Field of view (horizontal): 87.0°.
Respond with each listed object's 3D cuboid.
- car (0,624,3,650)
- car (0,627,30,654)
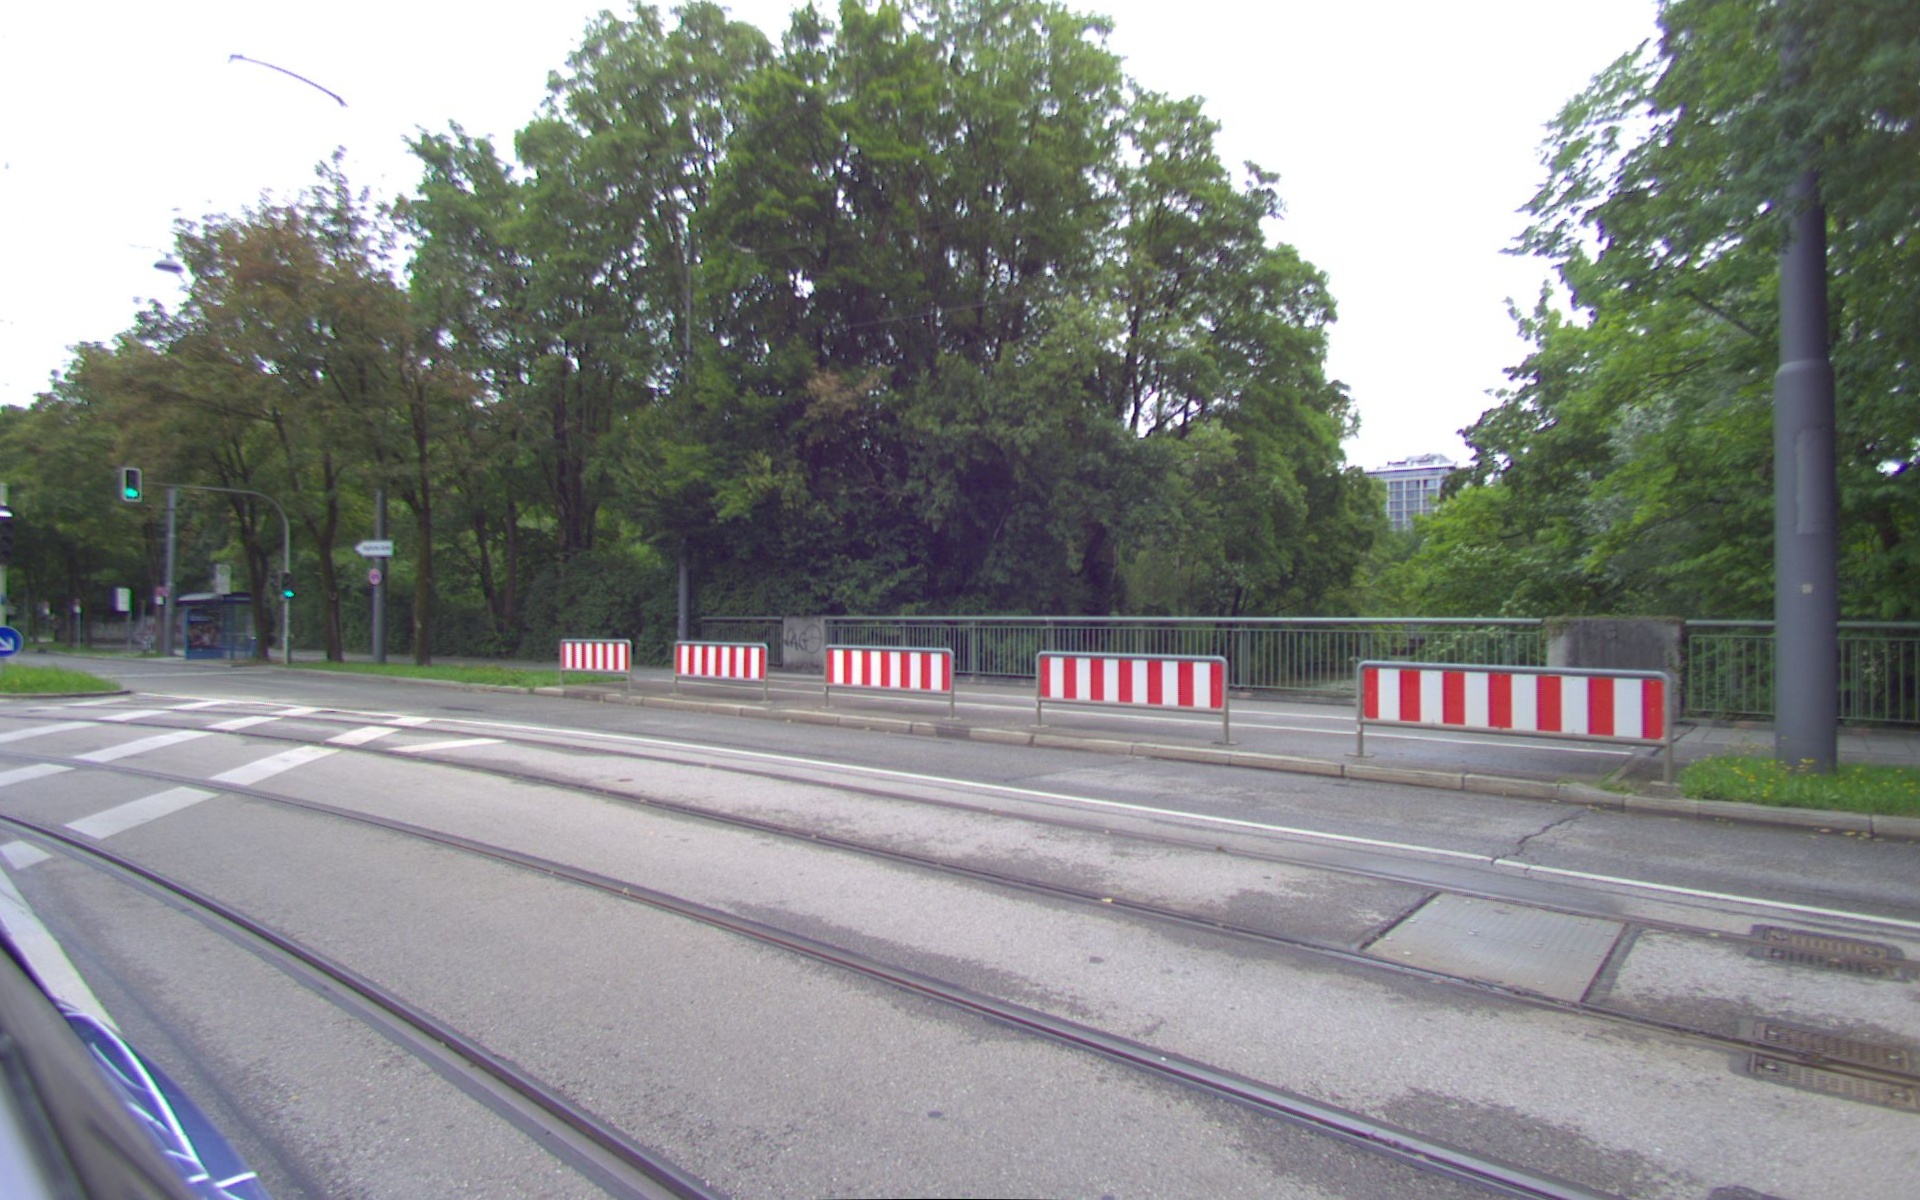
[{"bbox_3d":[-65.674,2.473,67.751,3.996,1.739,1.864,-1,0,40],"label":"car"},{"bbox_3d":[-61.051,2.578,64.679,3.997,1.552,1.864,-1,0,40],"label":"car"}]
